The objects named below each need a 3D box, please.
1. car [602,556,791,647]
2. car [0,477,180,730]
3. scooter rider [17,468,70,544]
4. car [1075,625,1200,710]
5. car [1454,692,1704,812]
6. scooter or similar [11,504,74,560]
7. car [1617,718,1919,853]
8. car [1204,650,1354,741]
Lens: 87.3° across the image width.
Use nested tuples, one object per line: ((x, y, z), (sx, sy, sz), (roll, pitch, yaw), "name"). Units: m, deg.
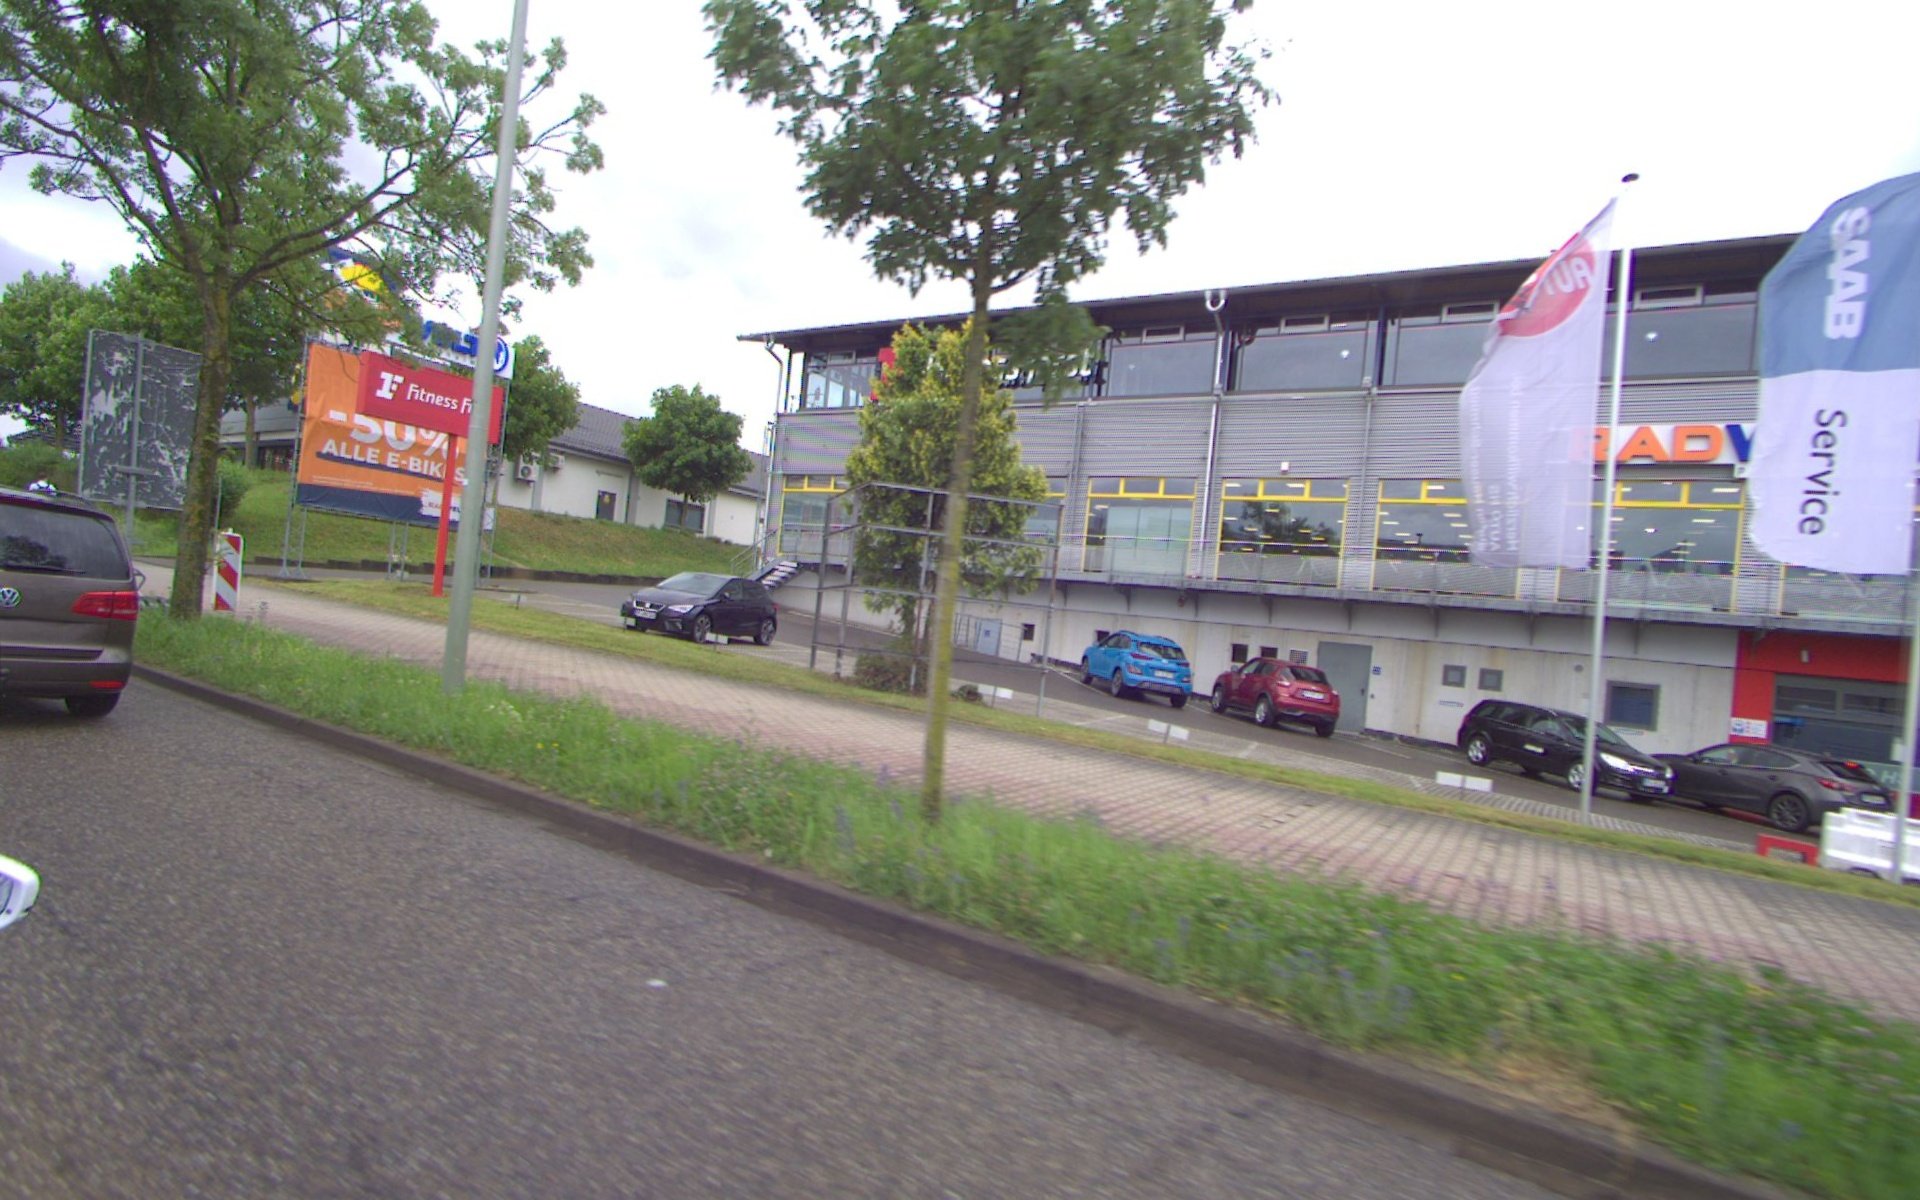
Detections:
((-5.429, 0.100, 21.314), (1.763, 1.456, 4.105), (9, 0, 19), "car")
((-7.866, -0.130, 7.490), (4.148, 1.598, 1.690), (5, -3, 30), "car")
((-23.851, -2.438, 26.183), (0.843, 1.844, 0.696), (7, 2, 26), "scooter rider")
((4.387, 1.631, 25.489), (1.711, 1.578, 3.903), (9, 0, -10), "car")
((12.318, 2.971, 20.405), (1.712, 1.488, 4.249), (9, 0, -12), "car")
((-23.903, -1.768, 26.204), (1.376, 1.280, 0.696), (7, 2, 26), "scooter or similar")
((15.127, 3.392, 19.083), (1.756, 1.488, 4.247), (9, 0, -14), "car")
((7.488, 2.192, 24.038), (1.711, 1.520, 3.868), (9, 0, -8), "car")
